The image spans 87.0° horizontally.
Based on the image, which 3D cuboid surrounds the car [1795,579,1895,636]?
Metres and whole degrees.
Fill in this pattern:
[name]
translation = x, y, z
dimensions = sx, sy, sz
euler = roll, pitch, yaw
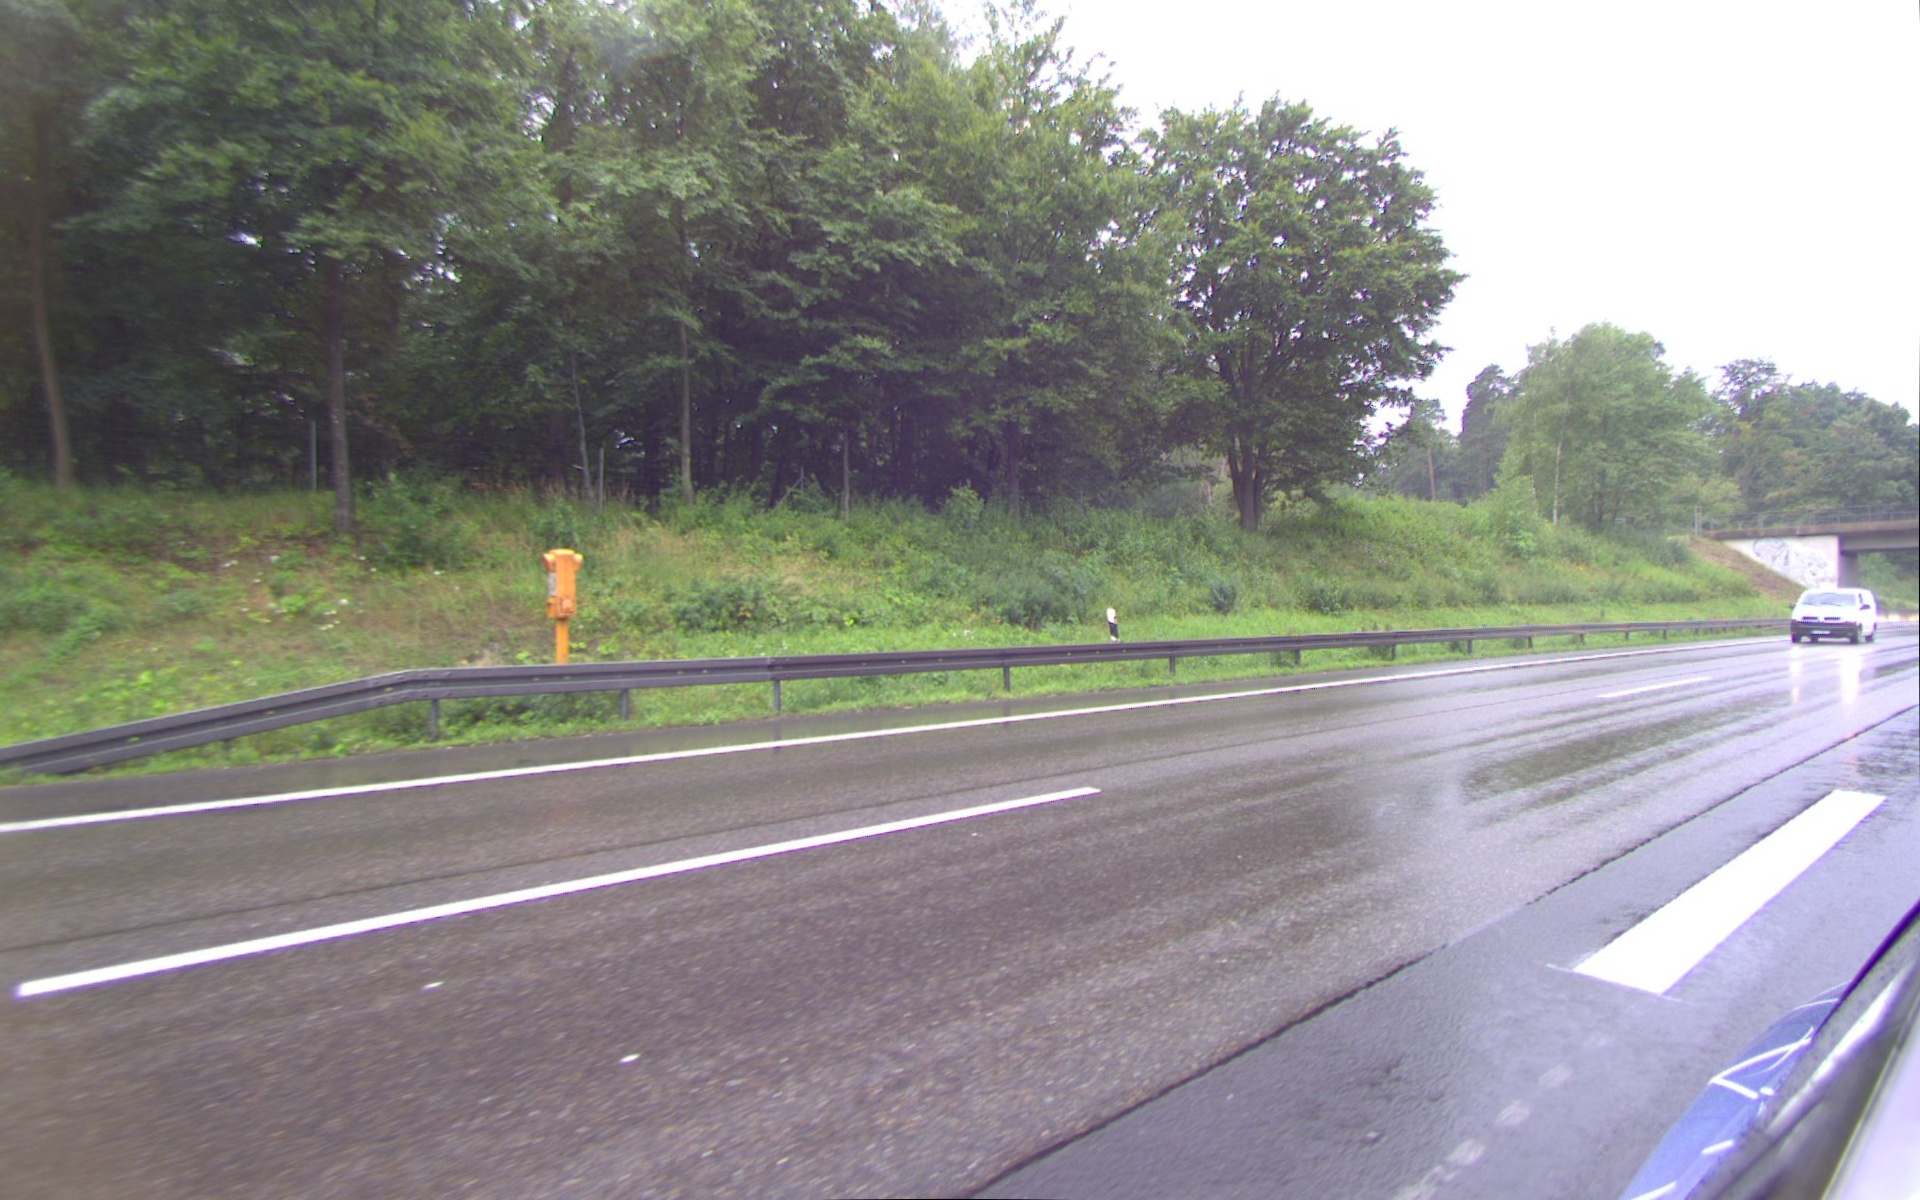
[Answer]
[car]
translation = 32.141, 0.247, 36.716
dimensions = 4.681, 1.945, 1.994
euler = 0, 0, -39
